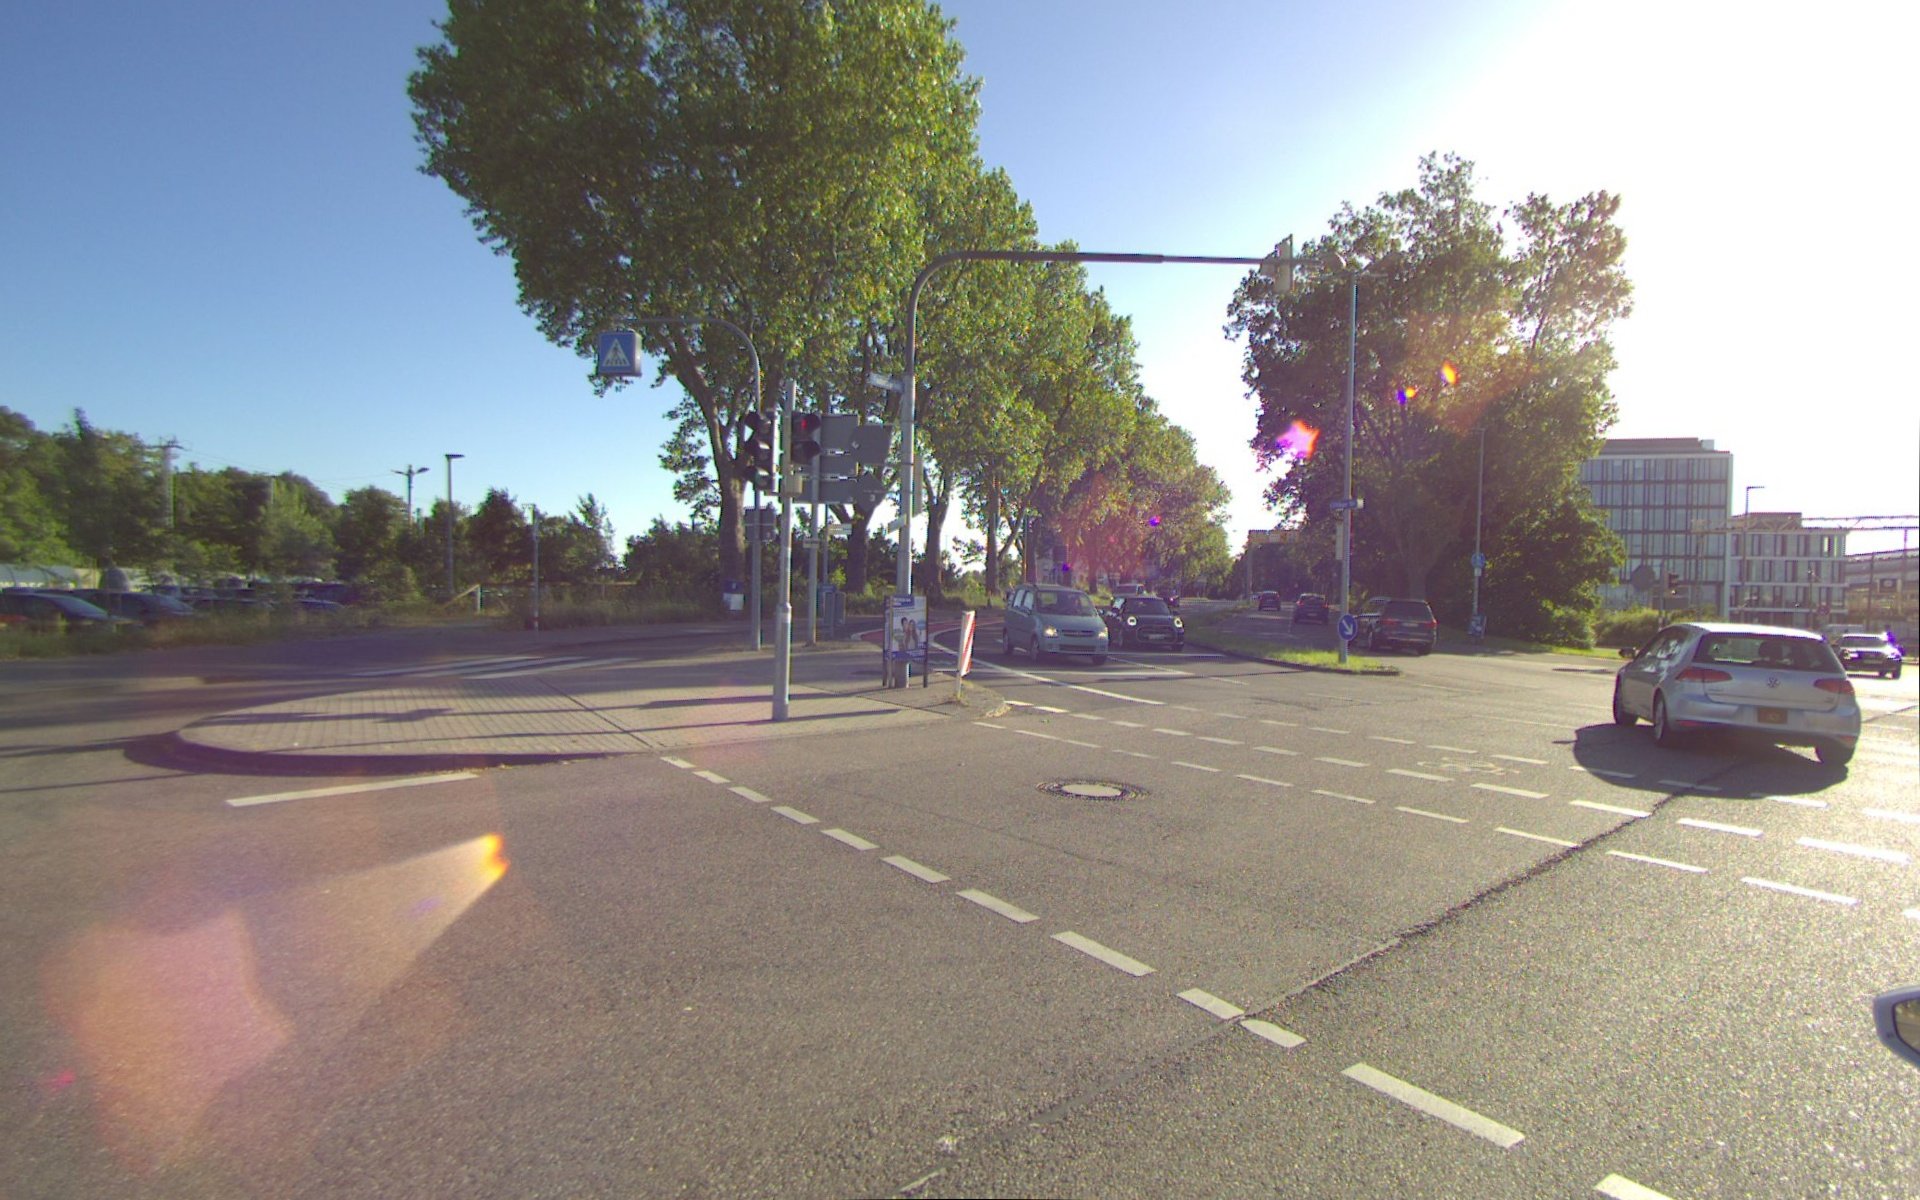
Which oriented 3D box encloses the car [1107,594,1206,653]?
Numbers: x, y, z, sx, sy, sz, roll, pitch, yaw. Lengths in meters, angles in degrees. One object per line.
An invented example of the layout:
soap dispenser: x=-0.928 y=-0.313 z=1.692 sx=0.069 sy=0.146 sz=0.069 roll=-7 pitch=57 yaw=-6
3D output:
car: x=5.469 y=0.601 z=28.415 sx=1.872 sy=1.446 sz=3.935 roll=3 pitch=1 yaw=-2

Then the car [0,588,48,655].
car: x=-23.816 y=0.441 z=23.150 sx=3.922 sy=1.479 sz=1.729 roll=2 pitch=1 yaw=-3

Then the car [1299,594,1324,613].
car: x=32.733 y=0.343 z=93.633 sx=1.822 sy=1.672 sz=4.267 roll=2 pitch=1 yaw=16

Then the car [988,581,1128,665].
car: x=2.083 y=0.438 z=22.681 sx=1.888 sy=1.657 sz=4.110 roll=2 pitch=1 yaw=-13

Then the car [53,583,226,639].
car: x=-24.836 y=0.318 z=30.467 sx=3.919 sy=1.494 sz=2.001 roll=2 pitch=1 yaw=11

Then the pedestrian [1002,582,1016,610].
pedestrian: x=2.888 y=-0.250 z=59.364 sx=0.652 sy=1.607 sz=0.631 roll=2 pitch=1 yaw=20

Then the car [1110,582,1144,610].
car: x=11.369 y=-0.257 z=68.139 sx=1.822 sy=1.767 sz=4.267 roll=2 pitch=1 yaw=15

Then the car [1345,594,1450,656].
car: x=14.917 y=0.782 z=34.586 sx=2.076 sy=1.912 sz=4.815 roll=2 pitch=1 yaw=9

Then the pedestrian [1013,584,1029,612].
pedestrian: x=3.581 y=-0.120 z=58.974 sx=0.716 sy=1.613 sz=0.804 roll=2 pitch=1 yaw=20

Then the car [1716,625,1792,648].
car: x=78.902 y=3.608 z=99.904 sx=5.606 sy=1.869 sz=1.918 roll=3 pitch=1 yaw=13

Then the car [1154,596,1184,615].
car: x=18.481 y=0.466 z=88.604 sx=1.823 sy=1.620 sz=4.323 roll=3 pitch=1 yaw=22

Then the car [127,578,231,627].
car: x=-32.581 y=0.076 z=41.917 sx=3.961 sy=1.863 sz=1.738 roll=2 pitch=1 yaw=24

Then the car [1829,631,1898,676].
car: x=34.002 y=1.971 z=37.874 sx=1.727 sy=1.496 sz=3.981 roll=3 pitch=1 yaw=40

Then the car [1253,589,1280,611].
car: x=25.622 y=-0.008 z=83.906 sx=1.823 sy=1.767 sz=4.265 roll=2 pitch=1 yaw=21

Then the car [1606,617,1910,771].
car: x=9.332 y=0.970 z=12.168 sx=1.939 sy=1.446 sz=3.934 roll=2 pitch=0 yaw=25

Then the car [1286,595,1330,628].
car: x=19.688 y=0.600 z=56.995 sx=1.909 sy=1.736 sz=4.202 roll=2 pitch=1 yaw=14

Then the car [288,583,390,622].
car: x=-30.175 y=0.100 z=48.811 sx=4.073 sy=1.729 sz=1.979 roll=2 pitch=1 yaw=16

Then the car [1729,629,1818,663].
car: x=42.720 y=2.395 z=52.843 sx=1.718 sy=1.496 sz=4.002 roll=2 pitch=1 yaw=7

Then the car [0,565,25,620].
car: x=-34.943 y=-0.345 z=34.531 sx=4.927 sy=1.863 sz=2.199 roll=2 pitch=1 yaw=21
